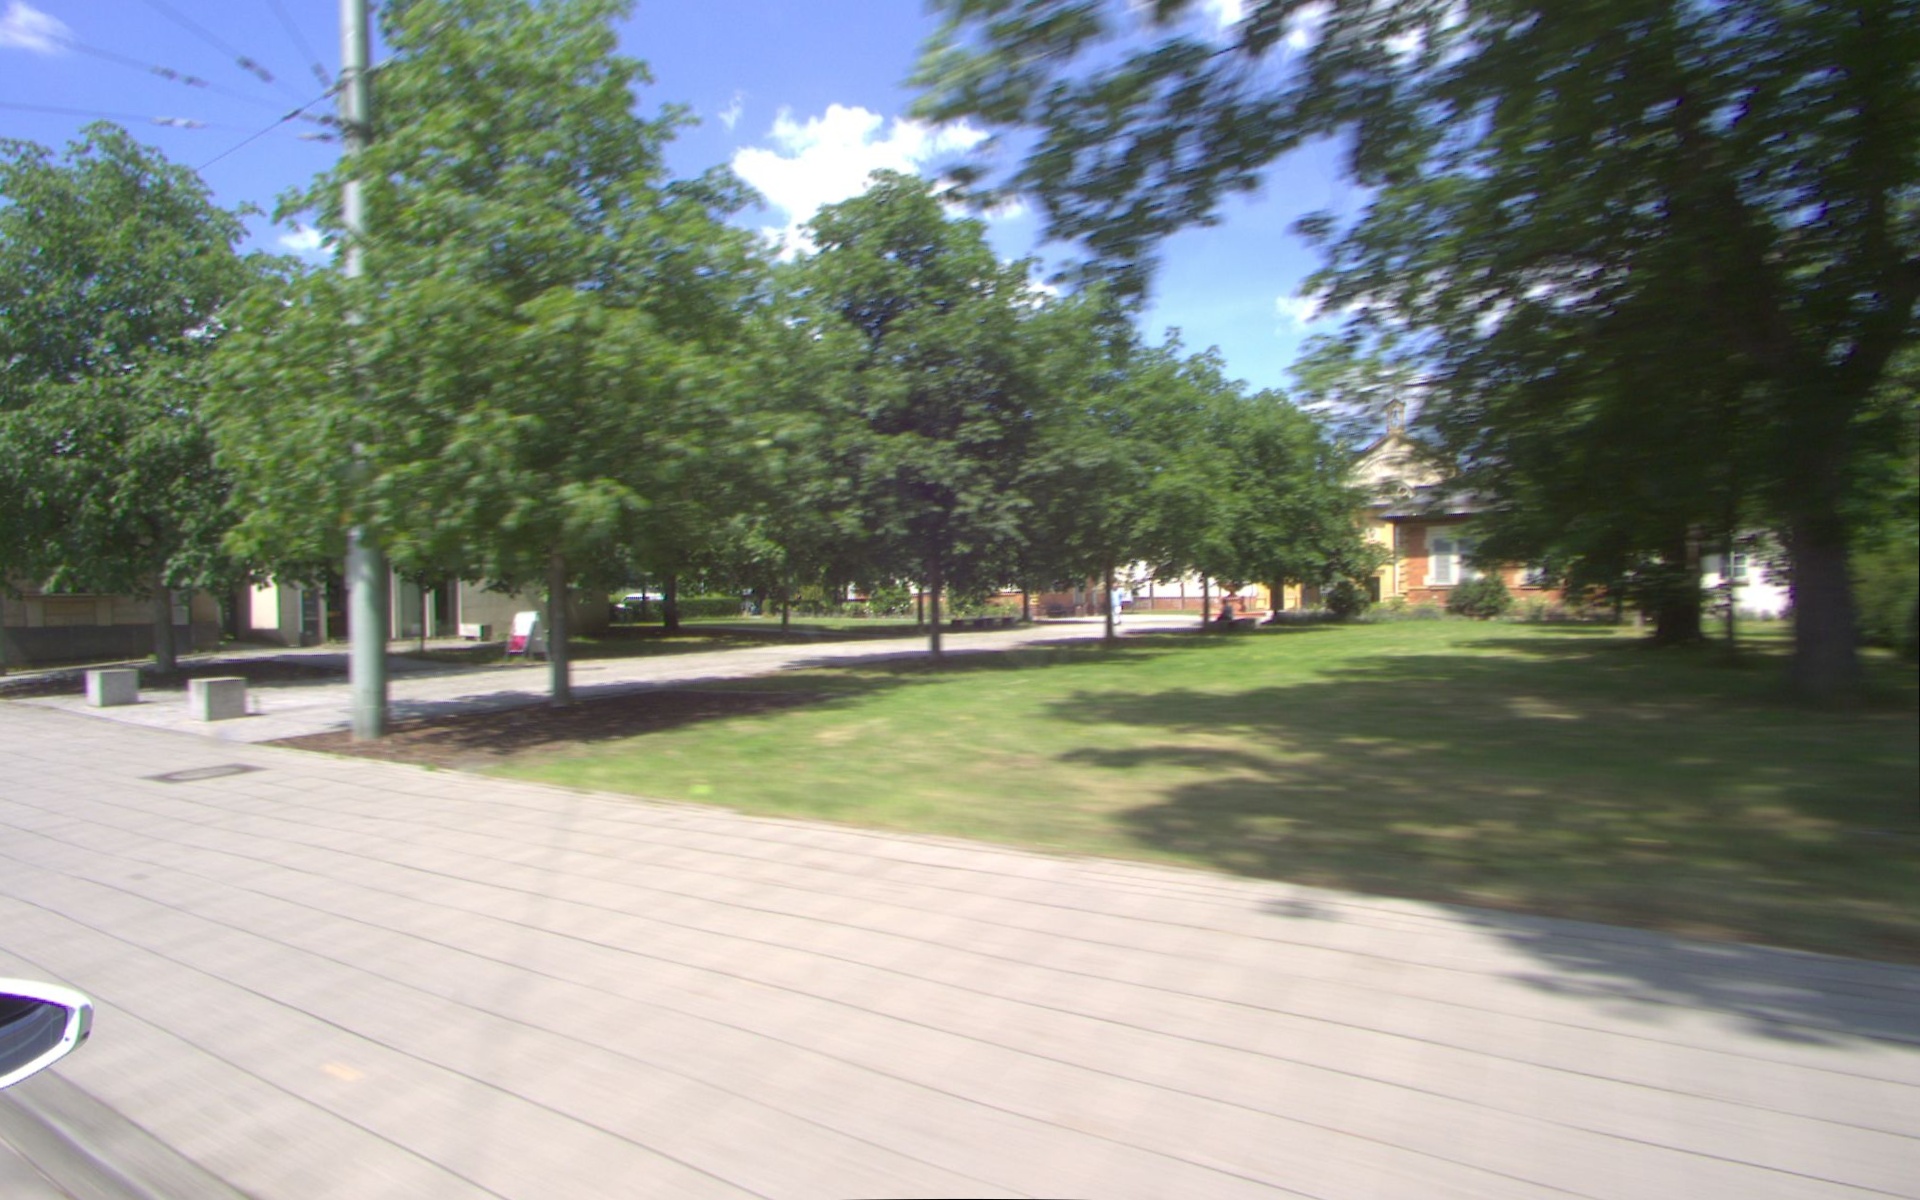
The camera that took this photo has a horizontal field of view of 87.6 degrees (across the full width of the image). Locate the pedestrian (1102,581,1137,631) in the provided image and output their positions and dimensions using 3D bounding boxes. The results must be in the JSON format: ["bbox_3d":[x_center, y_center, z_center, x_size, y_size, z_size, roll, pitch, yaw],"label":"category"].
[{"bbox_3d":[6.670,0.246,41.935,1.237,2.041,0.822,-1,2,21],"label":"pedestrian"}]
